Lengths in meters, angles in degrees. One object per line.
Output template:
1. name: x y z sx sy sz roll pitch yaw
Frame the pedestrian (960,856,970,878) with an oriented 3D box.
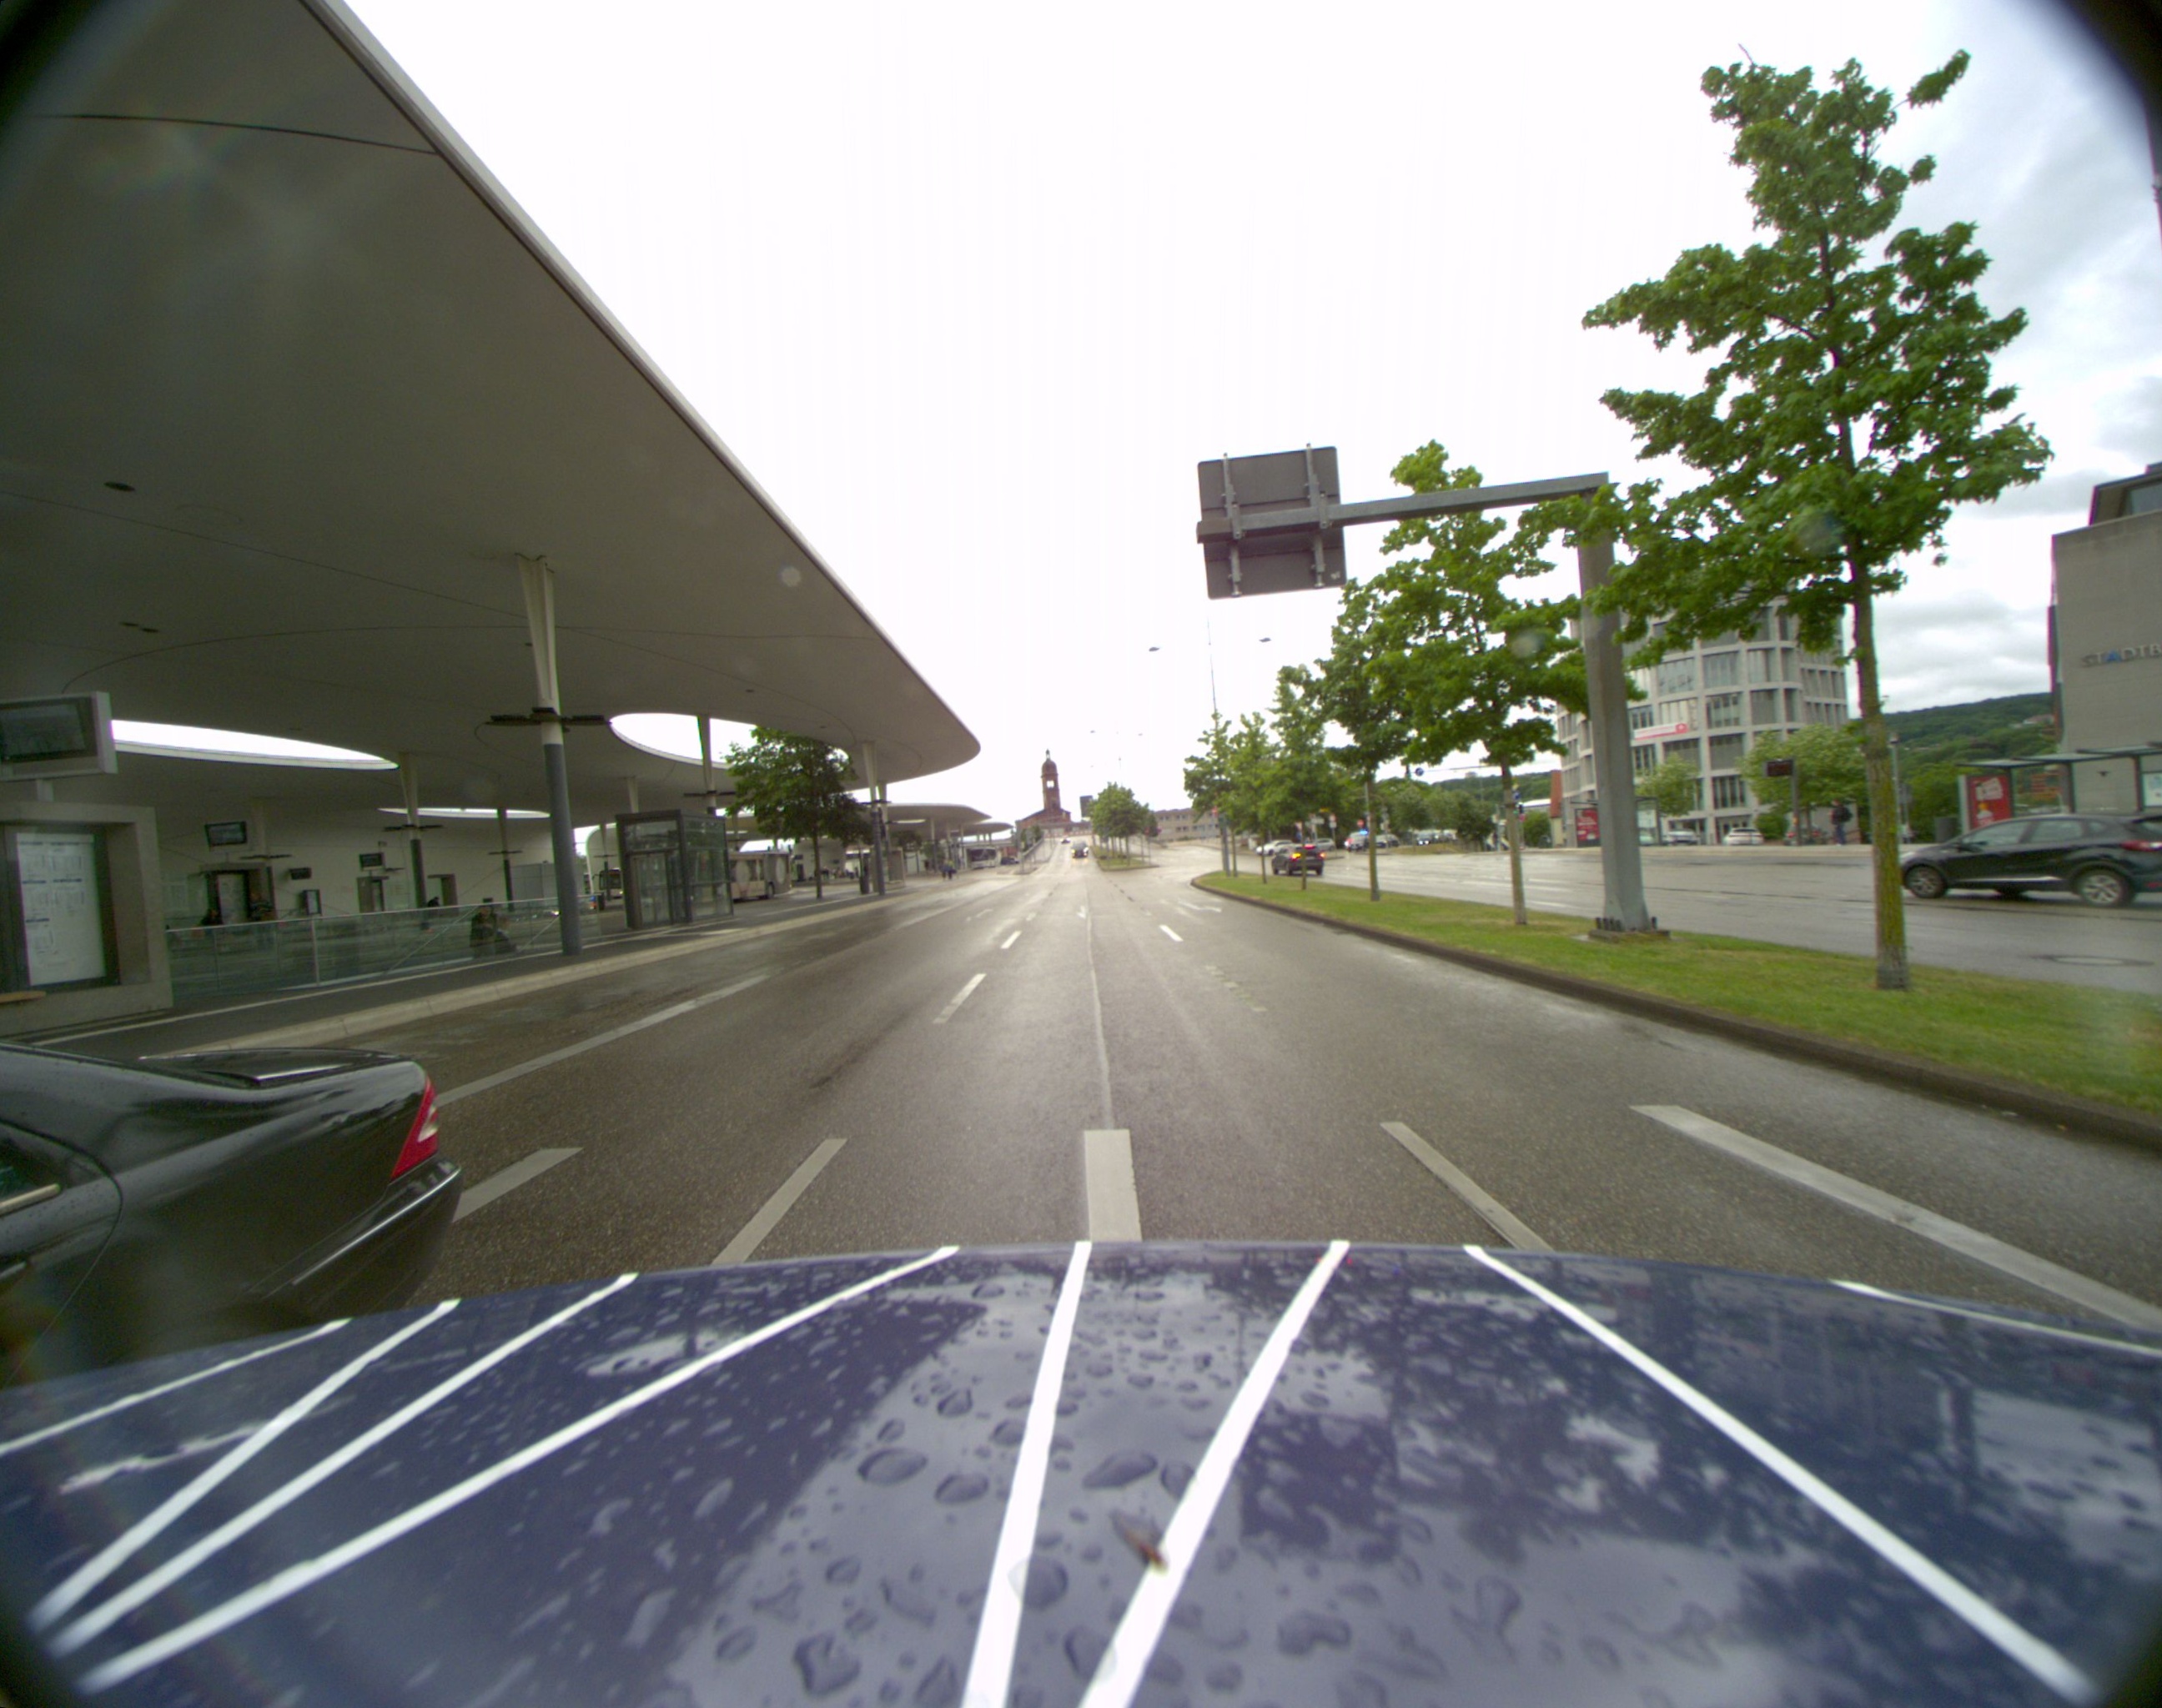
1. pedestrian: -8.873 0.996 58.144 0.557 1.614 0.552 -3 1 1

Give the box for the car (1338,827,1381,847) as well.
1. car: 30.525 -1.895 83.078 5.043 2.002 2.304 -3 1 -43

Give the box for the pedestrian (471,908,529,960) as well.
1. pedestrian: -11.780 1.620 15.413 0.622 0.957 0.638 -3 1 1

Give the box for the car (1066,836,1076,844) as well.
1. car: -2.049 -2.844 153.954 1.704 1.656 3.998 -3 1 -2

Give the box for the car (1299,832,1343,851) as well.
1. car: 25.863 -1.374 81.965 4.003 1.783 1.997 -3 1 -19

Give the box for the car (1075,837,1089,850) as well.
1. car: 0.085 -1.375 101.408 1.704 1.656 3.998 -3 1 -2

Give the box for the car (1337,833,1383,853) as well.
1. car: 27.672 -1.081 75.165 4.925 1.702 2.190 -3 1 -43

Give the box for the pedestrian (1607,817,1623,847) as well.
1. pedestrian: 29.511 -1.218 42.014 0.504 1.625 0.502 -2 1 1

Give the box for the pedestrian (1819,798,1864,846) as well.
1. pedestrian: 28.938 -1.213 28.922 0.787 1.750 0.972 -3 1 -28

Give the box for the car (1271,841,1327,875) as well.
1. car: 11.648 0.185 40.961 1.826 1.630 4.600 -3 0 3

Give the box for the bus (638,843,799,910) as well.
1. bus: -19.754 1.039 42.728 3.003 3.088 12.353 -3 0 0

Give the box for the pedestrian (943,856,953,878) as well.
1. pedestrian: -10.174 0.991 58.283 0.576 1.614 0.588 -3 1 1

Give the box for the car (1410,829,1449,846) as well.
1. car: 38.697 -1.863 84.358 4.925 1.702 2.190 -3 1 -43

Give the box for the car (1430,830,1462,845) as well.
1. car: 48.361 -2.216 100.543 4.925 1.702 2.190 -3 1 -45

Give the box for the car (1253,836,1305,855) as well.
1. car: 20.758 -0.927 79.729 4.921 1.702 2.192 -3 1 -21

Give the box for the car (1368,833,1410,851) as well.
1. car: 32.992 -1.313 81.352 4.925 1.702 2.190 -3 1 -43

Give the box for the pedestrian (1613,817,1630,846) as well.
1. pedestrian: 30.060 -1.245 42.247 0.520 1.625 0.536 -2 1 1

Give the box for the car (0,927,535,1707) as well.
1. car: -2.869 1.166 0.334 1.750 1.472 4.434 -8 2 2

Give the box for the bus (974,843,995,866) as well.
1. bus: -14.294 0.064 113.269 2.675 3.111 9.712 -3 0 -5

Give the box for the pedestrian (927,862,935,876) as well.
1. pedestrian: -17.877 1.830 90.448 0.723 1.621 0.753 -3 1 0

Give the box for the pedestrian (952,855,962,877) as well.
1. pedestrian: -9.489 0.904 58.239 0.557 1.614 0.552 -3 1 1

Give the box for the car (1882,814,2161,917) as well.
1. car: 17.315 0.131 13.550 1.775 1.522 4.078 -3 0 2

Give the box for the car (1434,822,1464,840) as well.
1. car: 44.419 -2.799 91.614 1.995 2.002 4.007 -3 0 44

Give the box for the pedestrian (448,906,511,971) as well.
1. pedestrian: -12.439 1.733 15.735 0.693 1.244 0.669 -3 1 1
